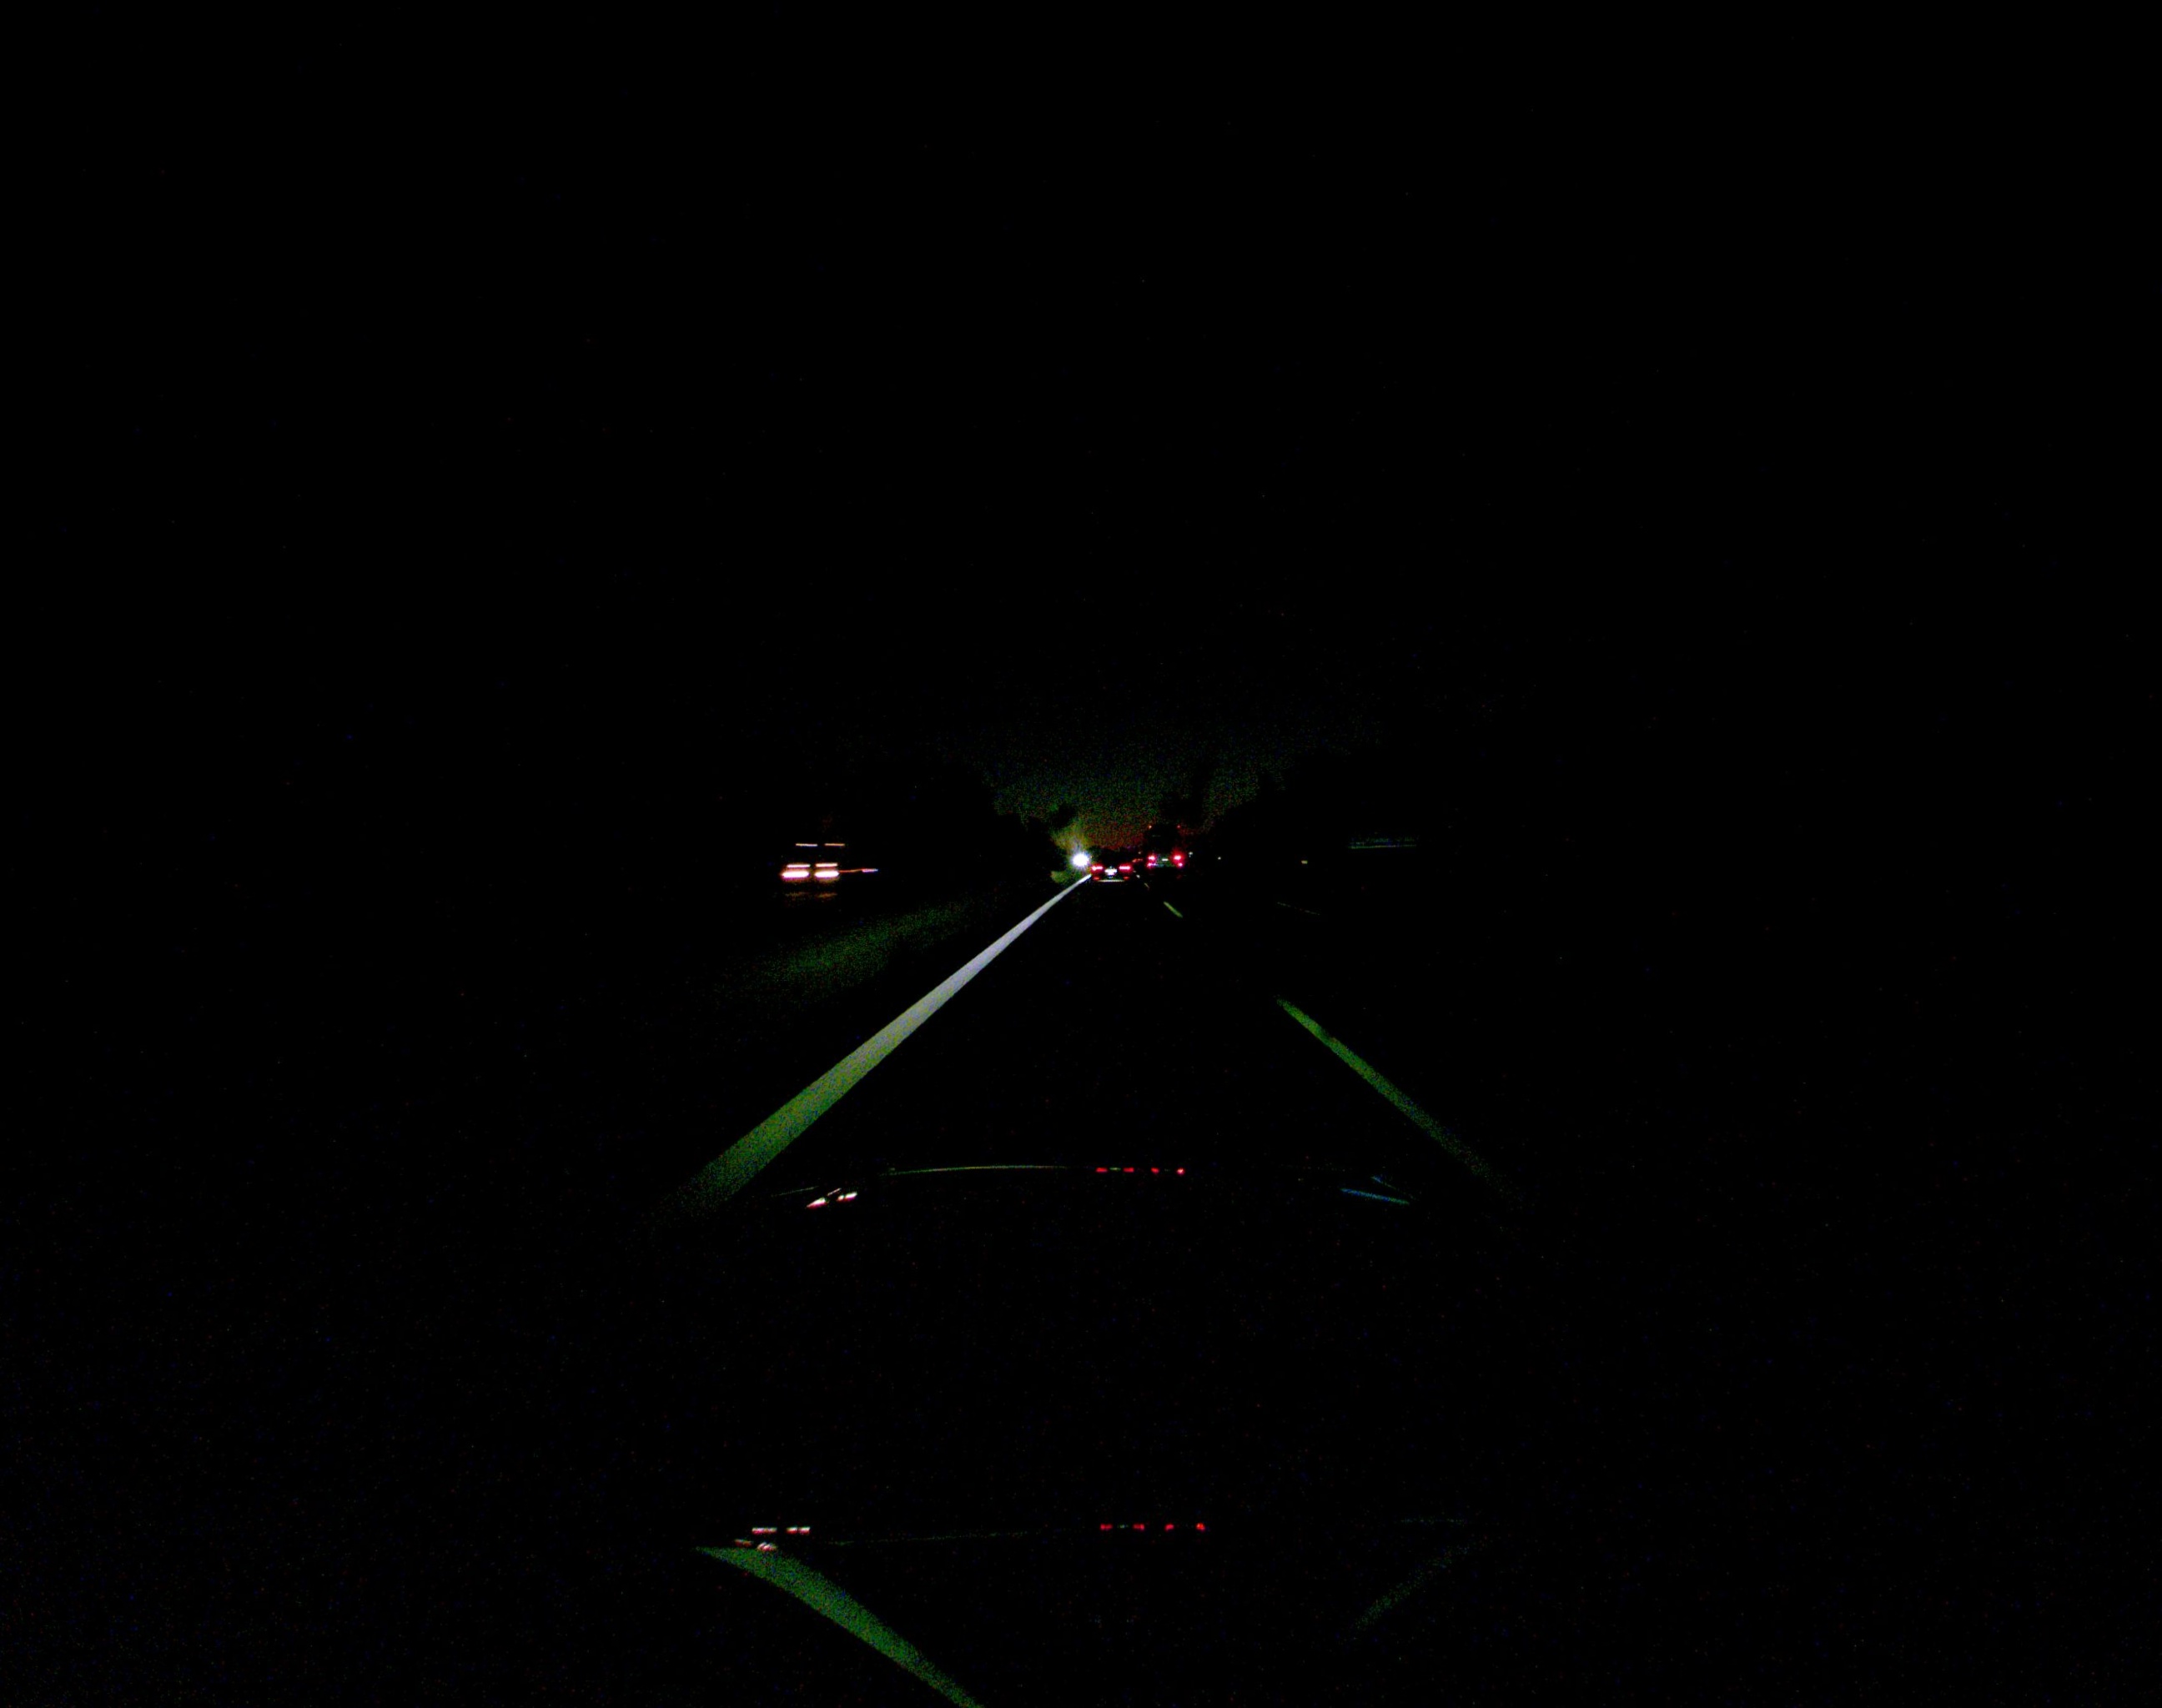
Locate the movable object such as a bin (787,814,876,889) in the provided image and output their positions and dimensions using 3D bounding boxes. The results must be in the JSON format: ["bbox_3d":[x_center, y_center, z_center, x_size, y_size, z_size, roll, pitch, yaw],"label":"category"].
[{"bbox_3d":[-13.628,-0.122,45.170,2.284,3.769,7.690,-1,0,2],"label":"movable object such as a bin"}]

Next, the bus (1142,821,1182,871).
[{"bbox_3d":[7.241,-0.501,74.269,2.642,3.994,14.709,-3,-1,2],"label":"bus"}]

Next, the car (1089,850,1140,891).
[{"bbox_3d":[1.468,0.749,36.876,2.098,1.618,4.204,-3,-1,1],"label":"car"}]
